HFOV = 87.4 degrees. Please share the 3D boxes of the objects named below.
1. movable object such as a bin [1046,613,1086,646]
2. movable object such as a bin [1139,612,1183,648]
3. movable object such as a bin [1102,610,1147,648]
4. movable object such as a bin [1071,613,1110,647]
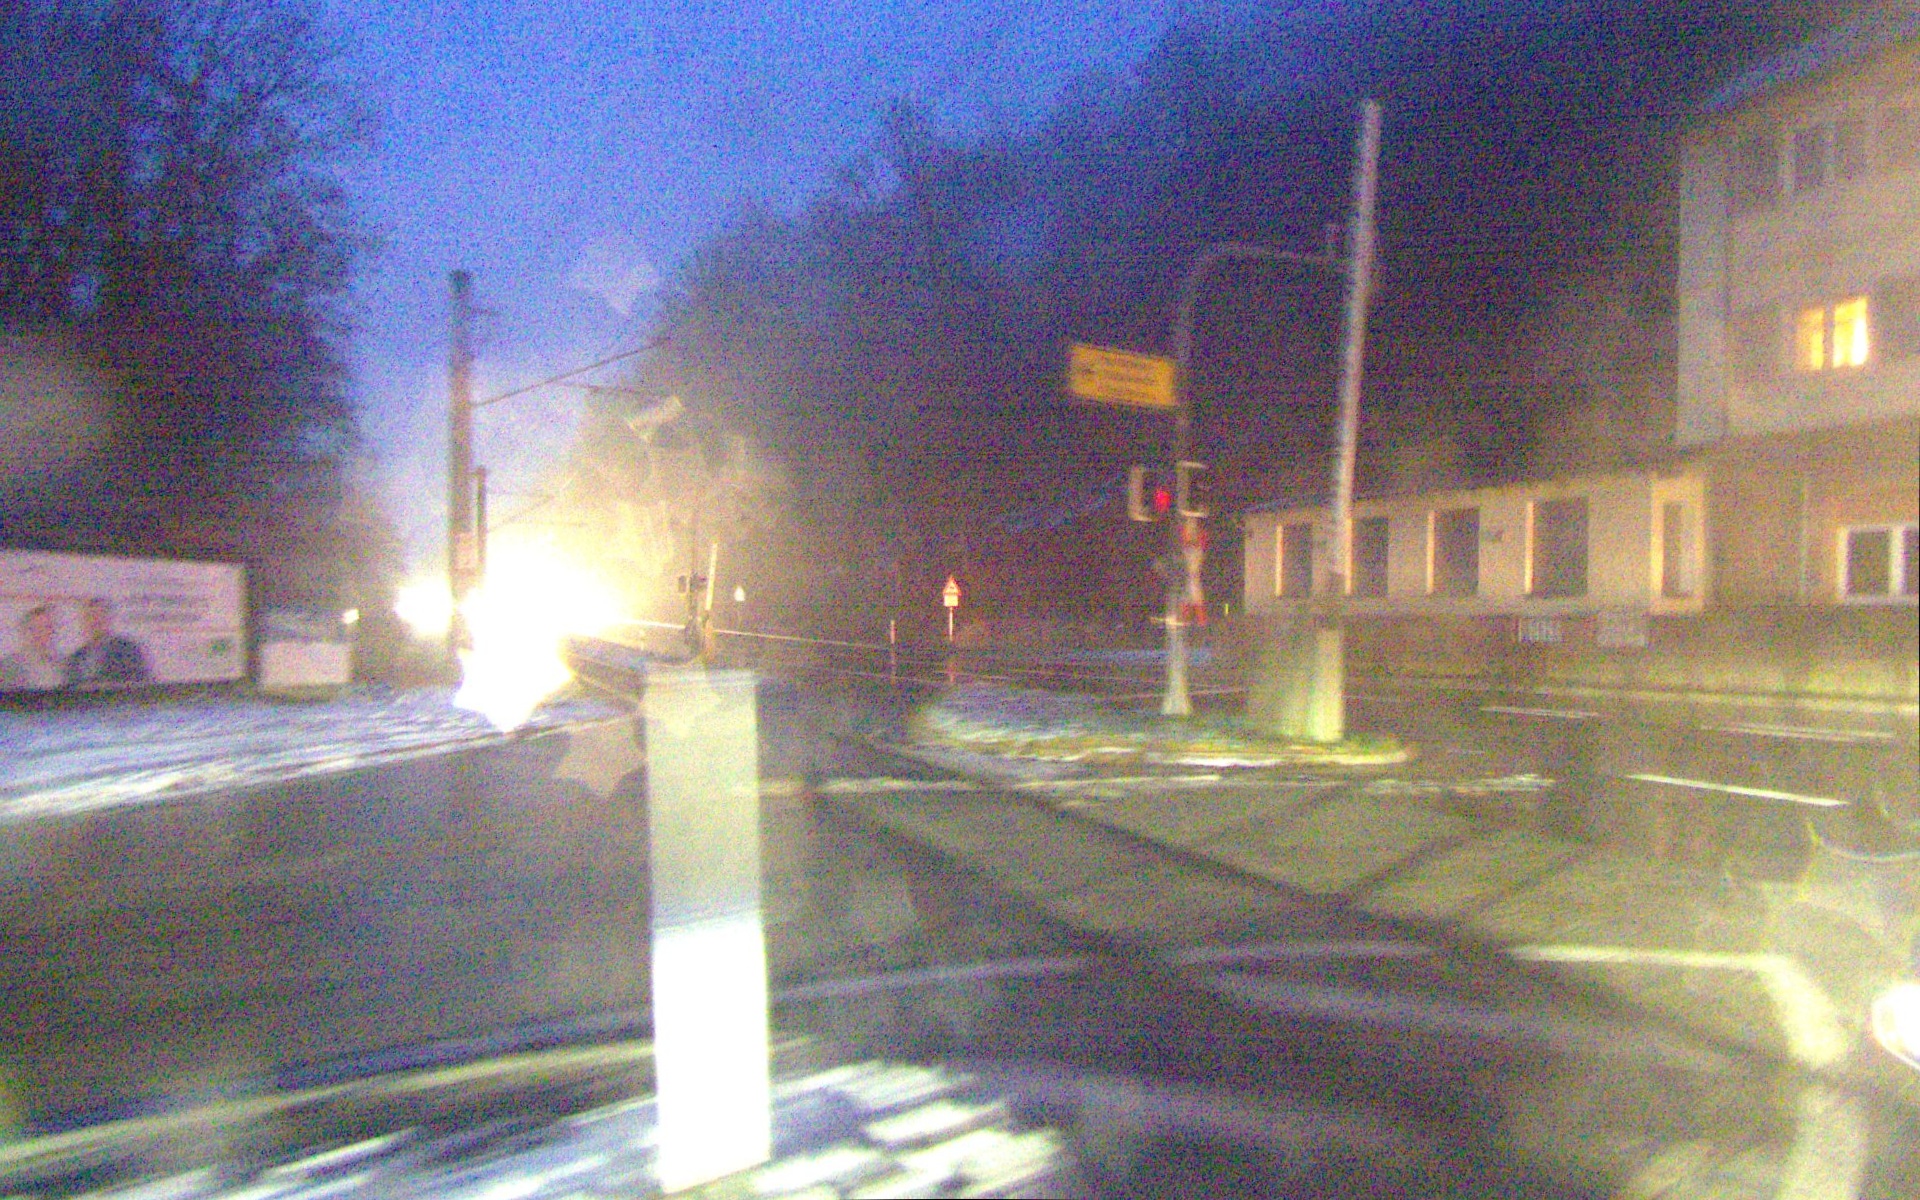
[{"bbox_3d":[4.392,1.211,41.467,1.298,1.326,1.175,-1,1,26],"label":"movable object such as a bin"},{"bbox_3d":[7.812,1.176,39.029,1.296,1.316,1.248,2,-1,33],"label":"movable object such as a bin"},{"bbox_3d":[6.532,1.153,39.917,1.368,1.432,1.247,-2,-1,33],"label":"movable object such as a bin"},{"bbox_3d":[5.279,1.207,40.602,1.210,1.343,1.151,0,1,28],"label":"movable object such as a bin"}]
